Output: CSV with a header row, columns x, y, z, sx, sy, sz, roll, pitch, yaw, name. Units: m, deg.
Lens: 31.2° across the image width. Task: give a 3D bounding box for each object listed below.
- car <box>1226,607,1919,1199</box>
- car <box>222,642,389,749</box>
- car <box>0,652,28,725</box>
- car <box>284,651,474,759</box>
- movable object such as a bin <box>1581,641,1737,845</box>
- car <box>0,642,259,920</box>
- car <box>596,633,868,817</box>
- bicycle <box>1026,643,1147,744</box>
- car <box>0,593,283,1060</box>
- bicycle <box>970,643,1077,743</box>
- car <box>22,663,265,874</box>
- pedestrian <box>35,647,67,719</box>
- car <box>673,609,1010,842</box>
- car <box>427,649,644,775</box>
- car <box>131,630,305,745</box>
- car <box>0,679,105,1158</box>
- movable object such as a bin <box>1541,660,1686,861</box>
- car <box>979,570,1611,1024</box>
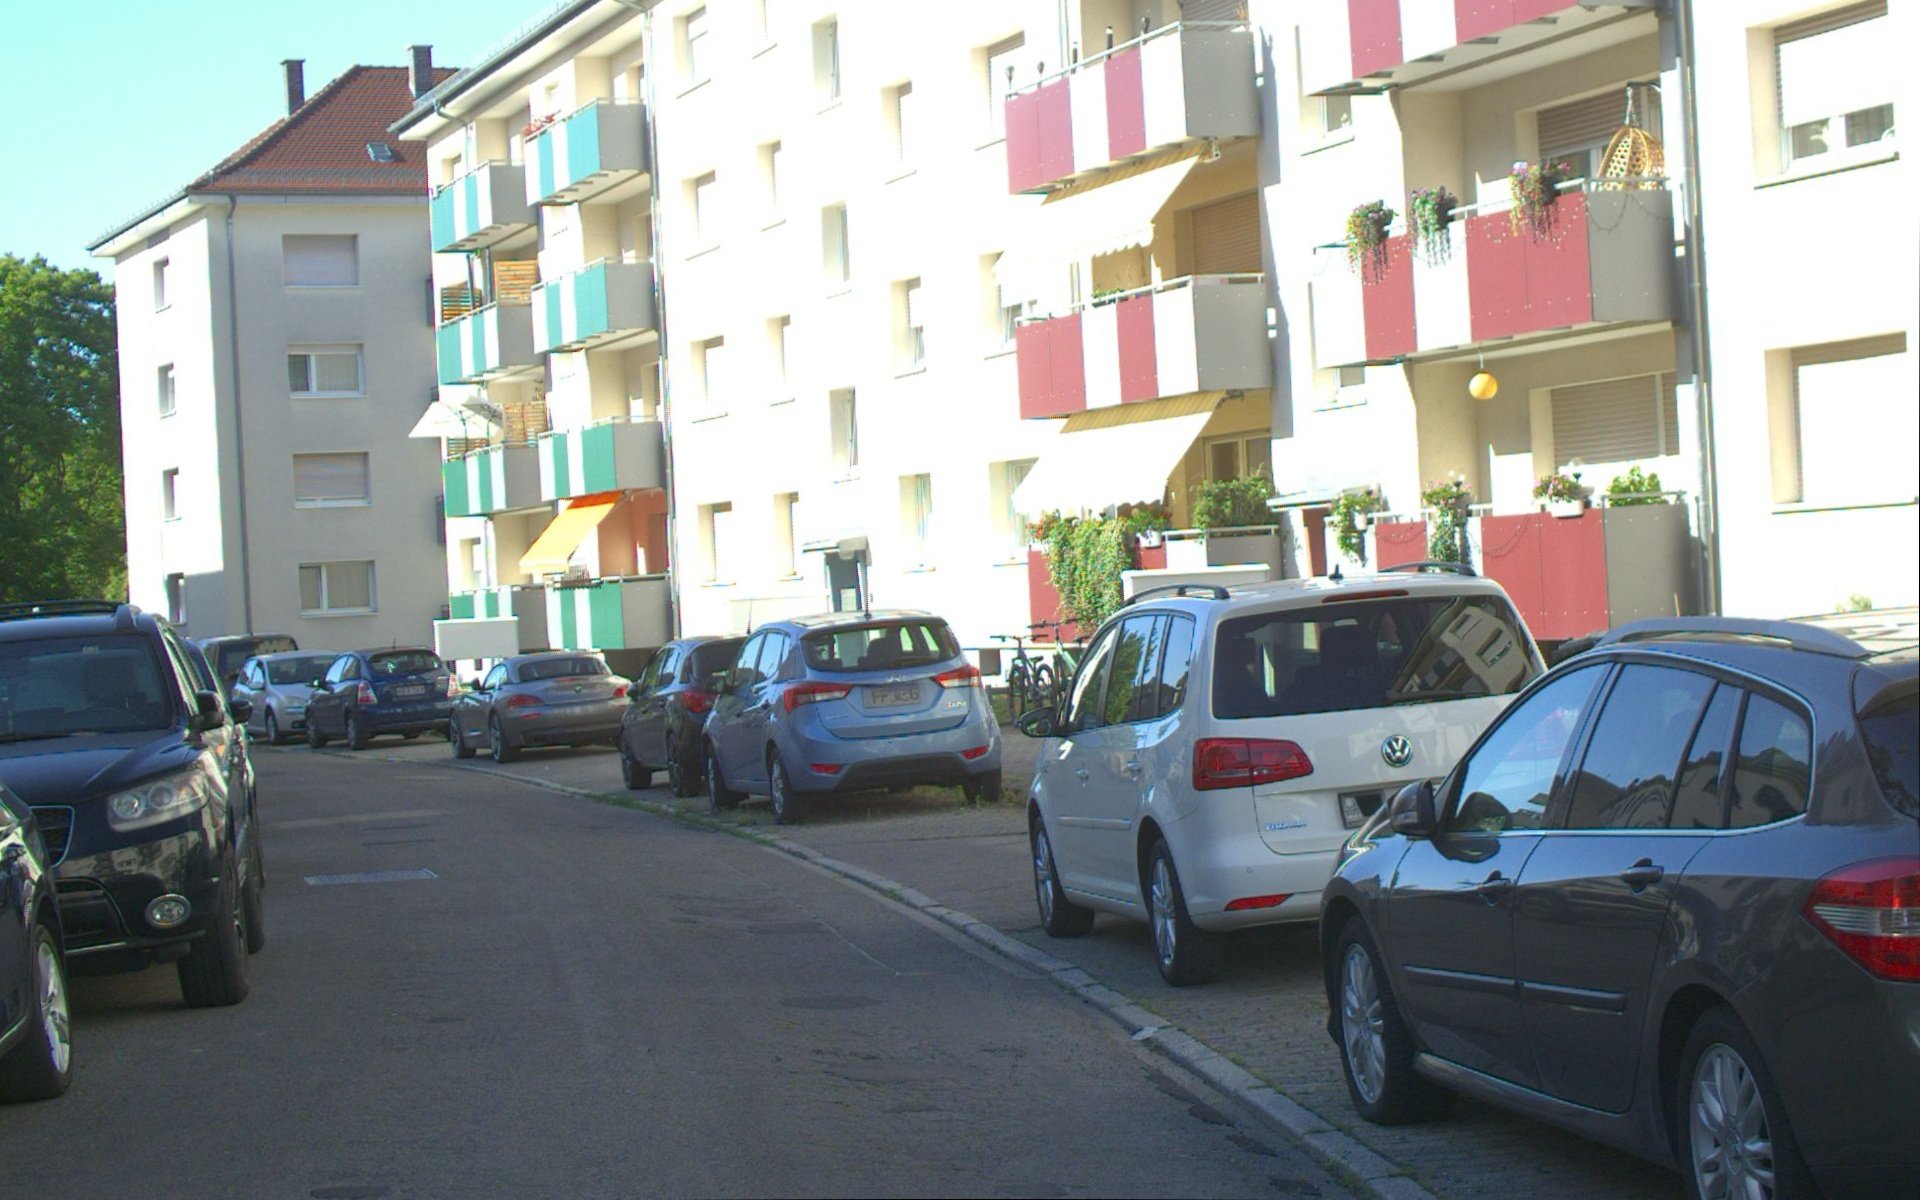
x,y,z,sx,sy,sz,roll,pitch,yaw,name
2.121,0.776,8.829,1.693,1.427,4.688,-4,-1,-9,car
-10.745,1.564,56.270,1.681,1.582,4.013,-3,0,-25,car
-24.410,2.252,85.149,1.765,1.734,4.094,-4,0,-25,car
-8.815,1.587,51.870,1.737,1.427,4.356,-5,0,-23,car
3.859,0.790,19.021,0.583,1.052,0.641,-6,-2,-4,movable object such as a bin
-5.502,1.113,22.529,1.693,1.555,4.157,-3,0,-12,car
-2.259,1.170,33.118,1.735,1.503,3.886,-5,0,-15,car
1.356,0.998,37.250,0.617,0.975,1.896,-6,2,-18,bicycle
-3.990,0.940,15.296,1.555,1.708,4.338,-6,0,-8,car
0.672,1.007,37.062,0.497,1.016,1.842,-4,0,-18,bicycle
-6.734,1.308,28.085,1.693,1.440,4.021,-4,0,-15,car
-23.315,2.127,88.210,0.654,1.809,0.614,-4,0,-16,pedestrian
-1.055,0.955,28.173,1.765,1.630,4.042,-5,1,-15,car
-5.385,1.387,43.160,1.685,1.358,4.240,-5,0,-20,car
-13.190,1.574,60.925,1.896,1.849,4.344,-3,-1,-27,car
-3.740,1.048,10.300,1.555,1.437,3.968,-6,0,-5,car
3.772,0.917,19.889,0.583,1.091,0.683,-4,0,-4,movable object such as a bin
1.335,0.849,15.663,1.693,1.650,4.390,-4,-2,-9,car
